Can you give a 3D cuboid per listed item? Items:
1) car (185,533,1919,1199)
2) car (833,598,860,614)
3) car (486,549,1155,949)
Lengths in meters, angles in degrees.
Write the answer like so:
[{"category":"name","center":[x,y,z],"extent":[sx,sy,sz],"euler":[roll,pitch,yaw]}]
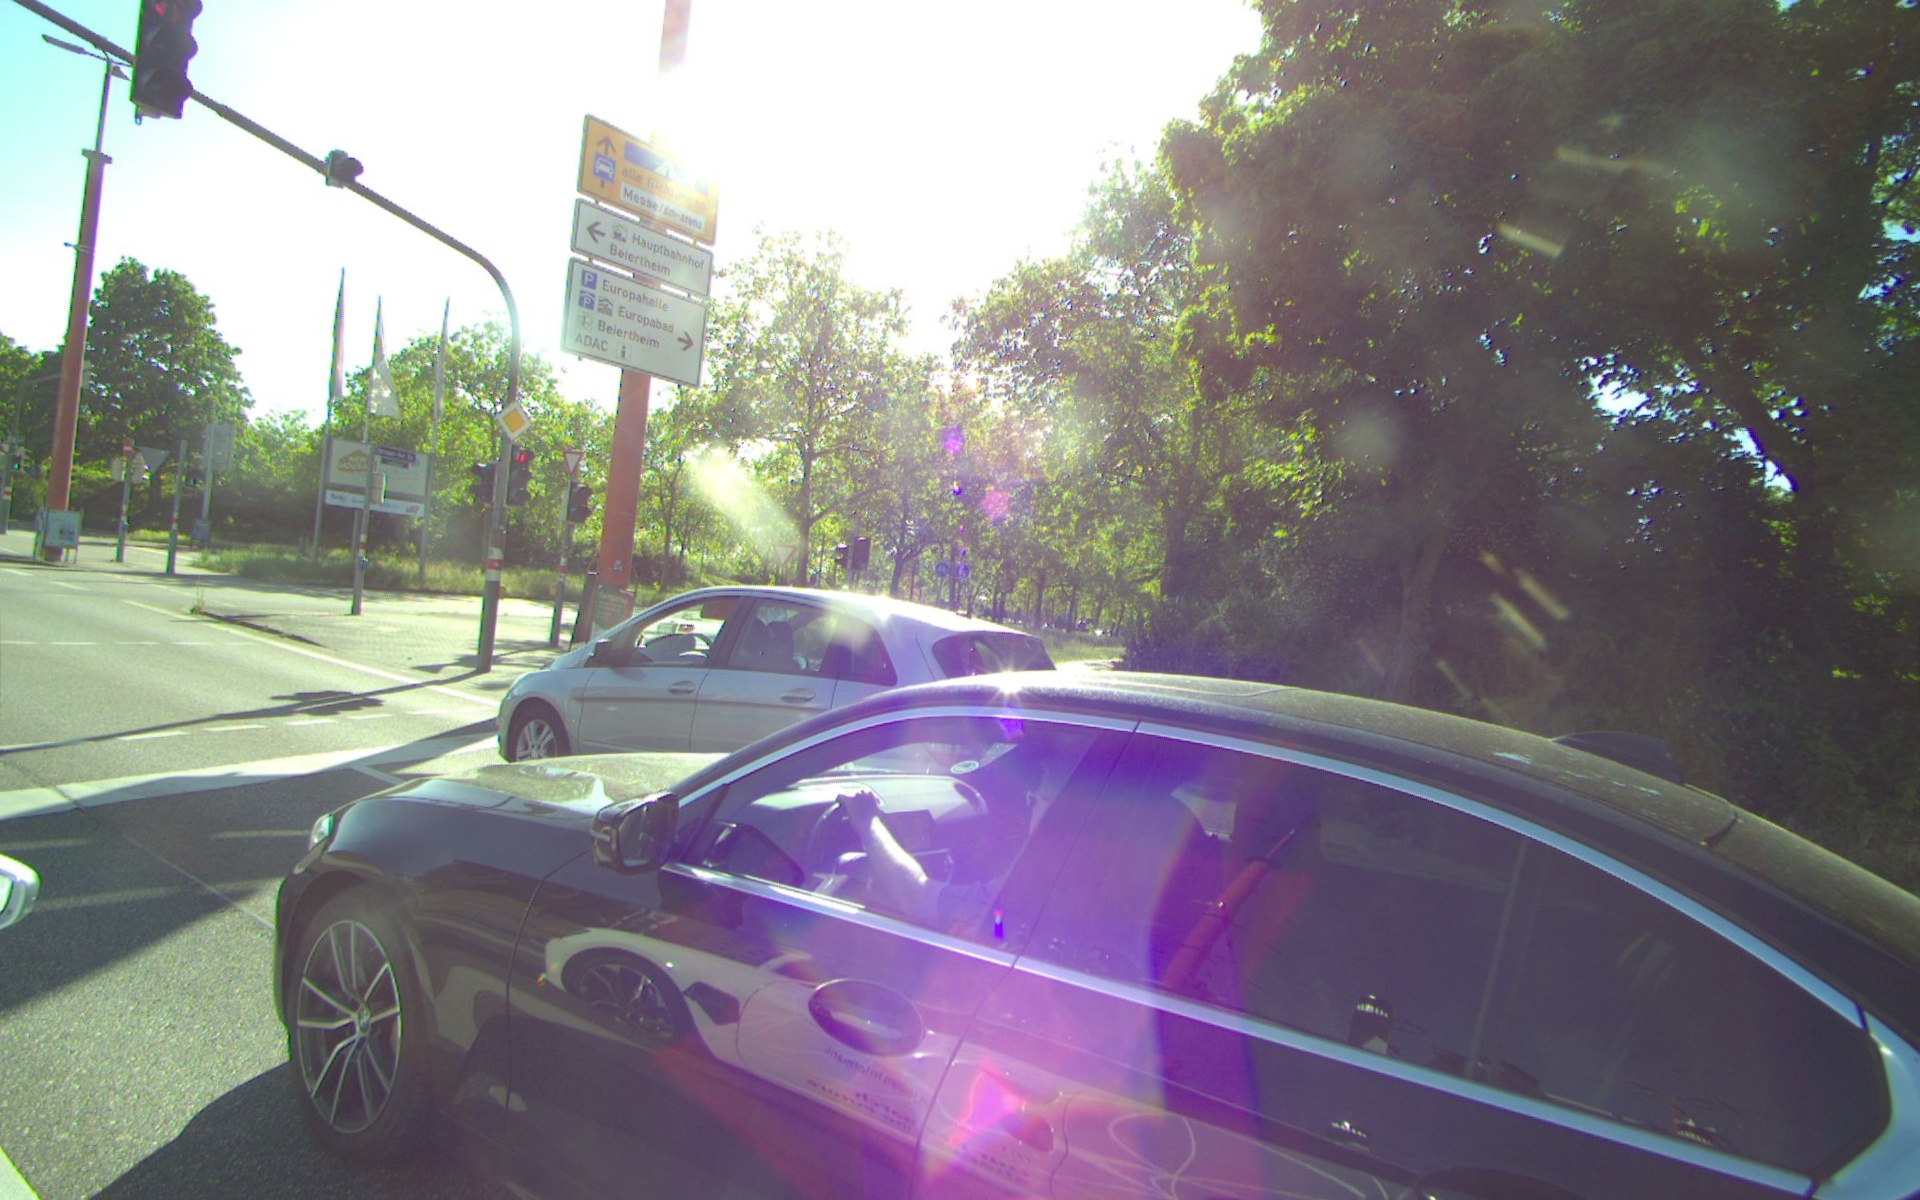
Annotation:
[{"category":"car","center":[0.280,0.806,2.341],"extent":[4.371,1.415,1.871],"euler":[7,0,33]},{"category":"car","center":[-13.195,0.709,116.852],"extent":[1.652,1.485,3.997],"euler":[7,-1,14]},{"category":"car","center":[-1.014,0.706,6.483],"extent":[3.963,1.597,1.741],"euler":[7,0,33]}]
